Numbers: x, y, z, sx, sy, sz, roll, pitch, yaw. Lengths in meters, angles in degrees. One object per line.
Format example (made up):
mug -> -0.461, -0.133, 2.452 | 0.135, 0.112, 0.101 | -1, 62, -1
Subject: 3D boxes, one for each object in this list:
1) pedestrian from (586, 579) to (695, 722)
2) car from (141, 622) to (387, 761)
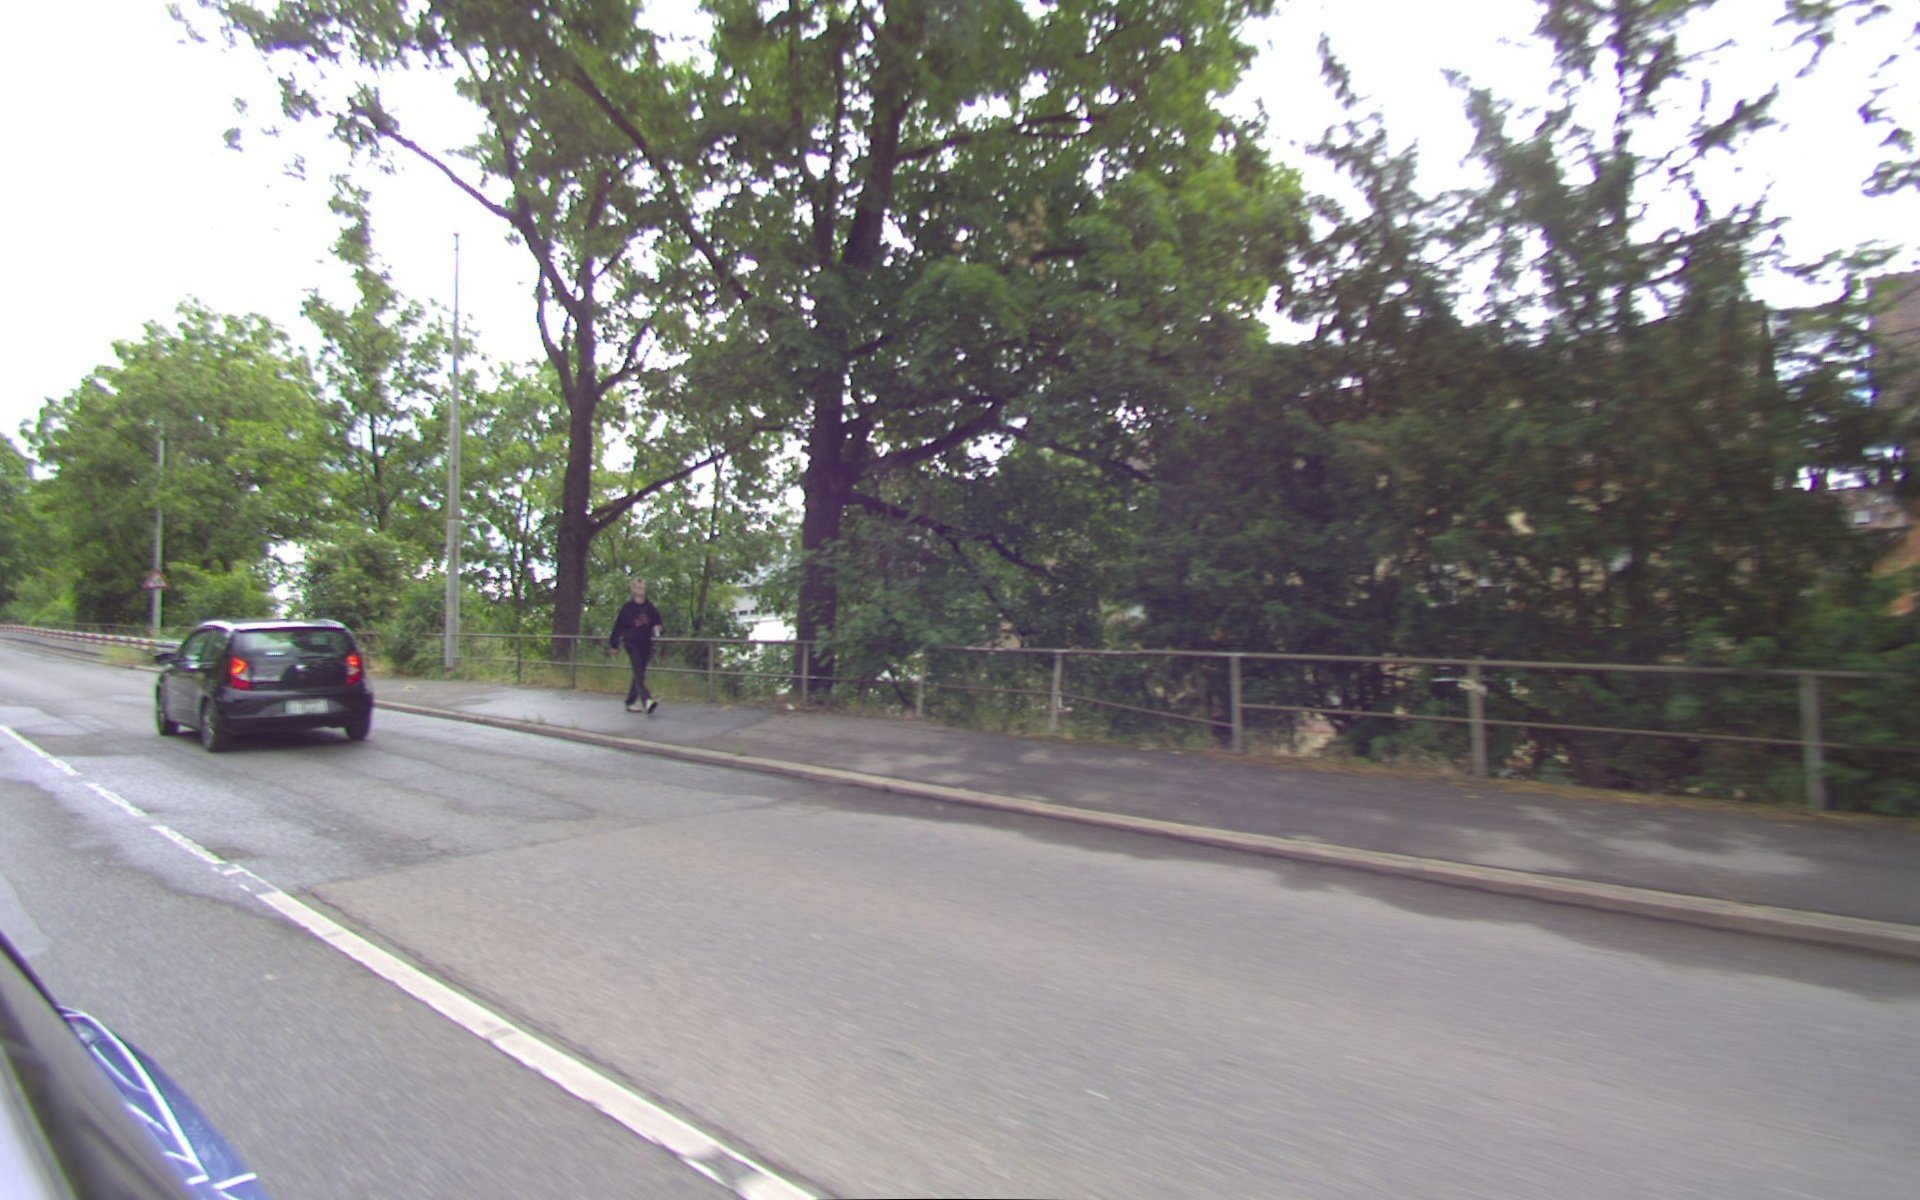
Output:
pedestrian -> -4.274, 0.652, 13.531 | 1.207, 1.787, 0.781 | -2, 2, 39
car -> -8.614, 0.994, 12.420 | 3.687, 1.458, 1.651 | -1, -2, 42
